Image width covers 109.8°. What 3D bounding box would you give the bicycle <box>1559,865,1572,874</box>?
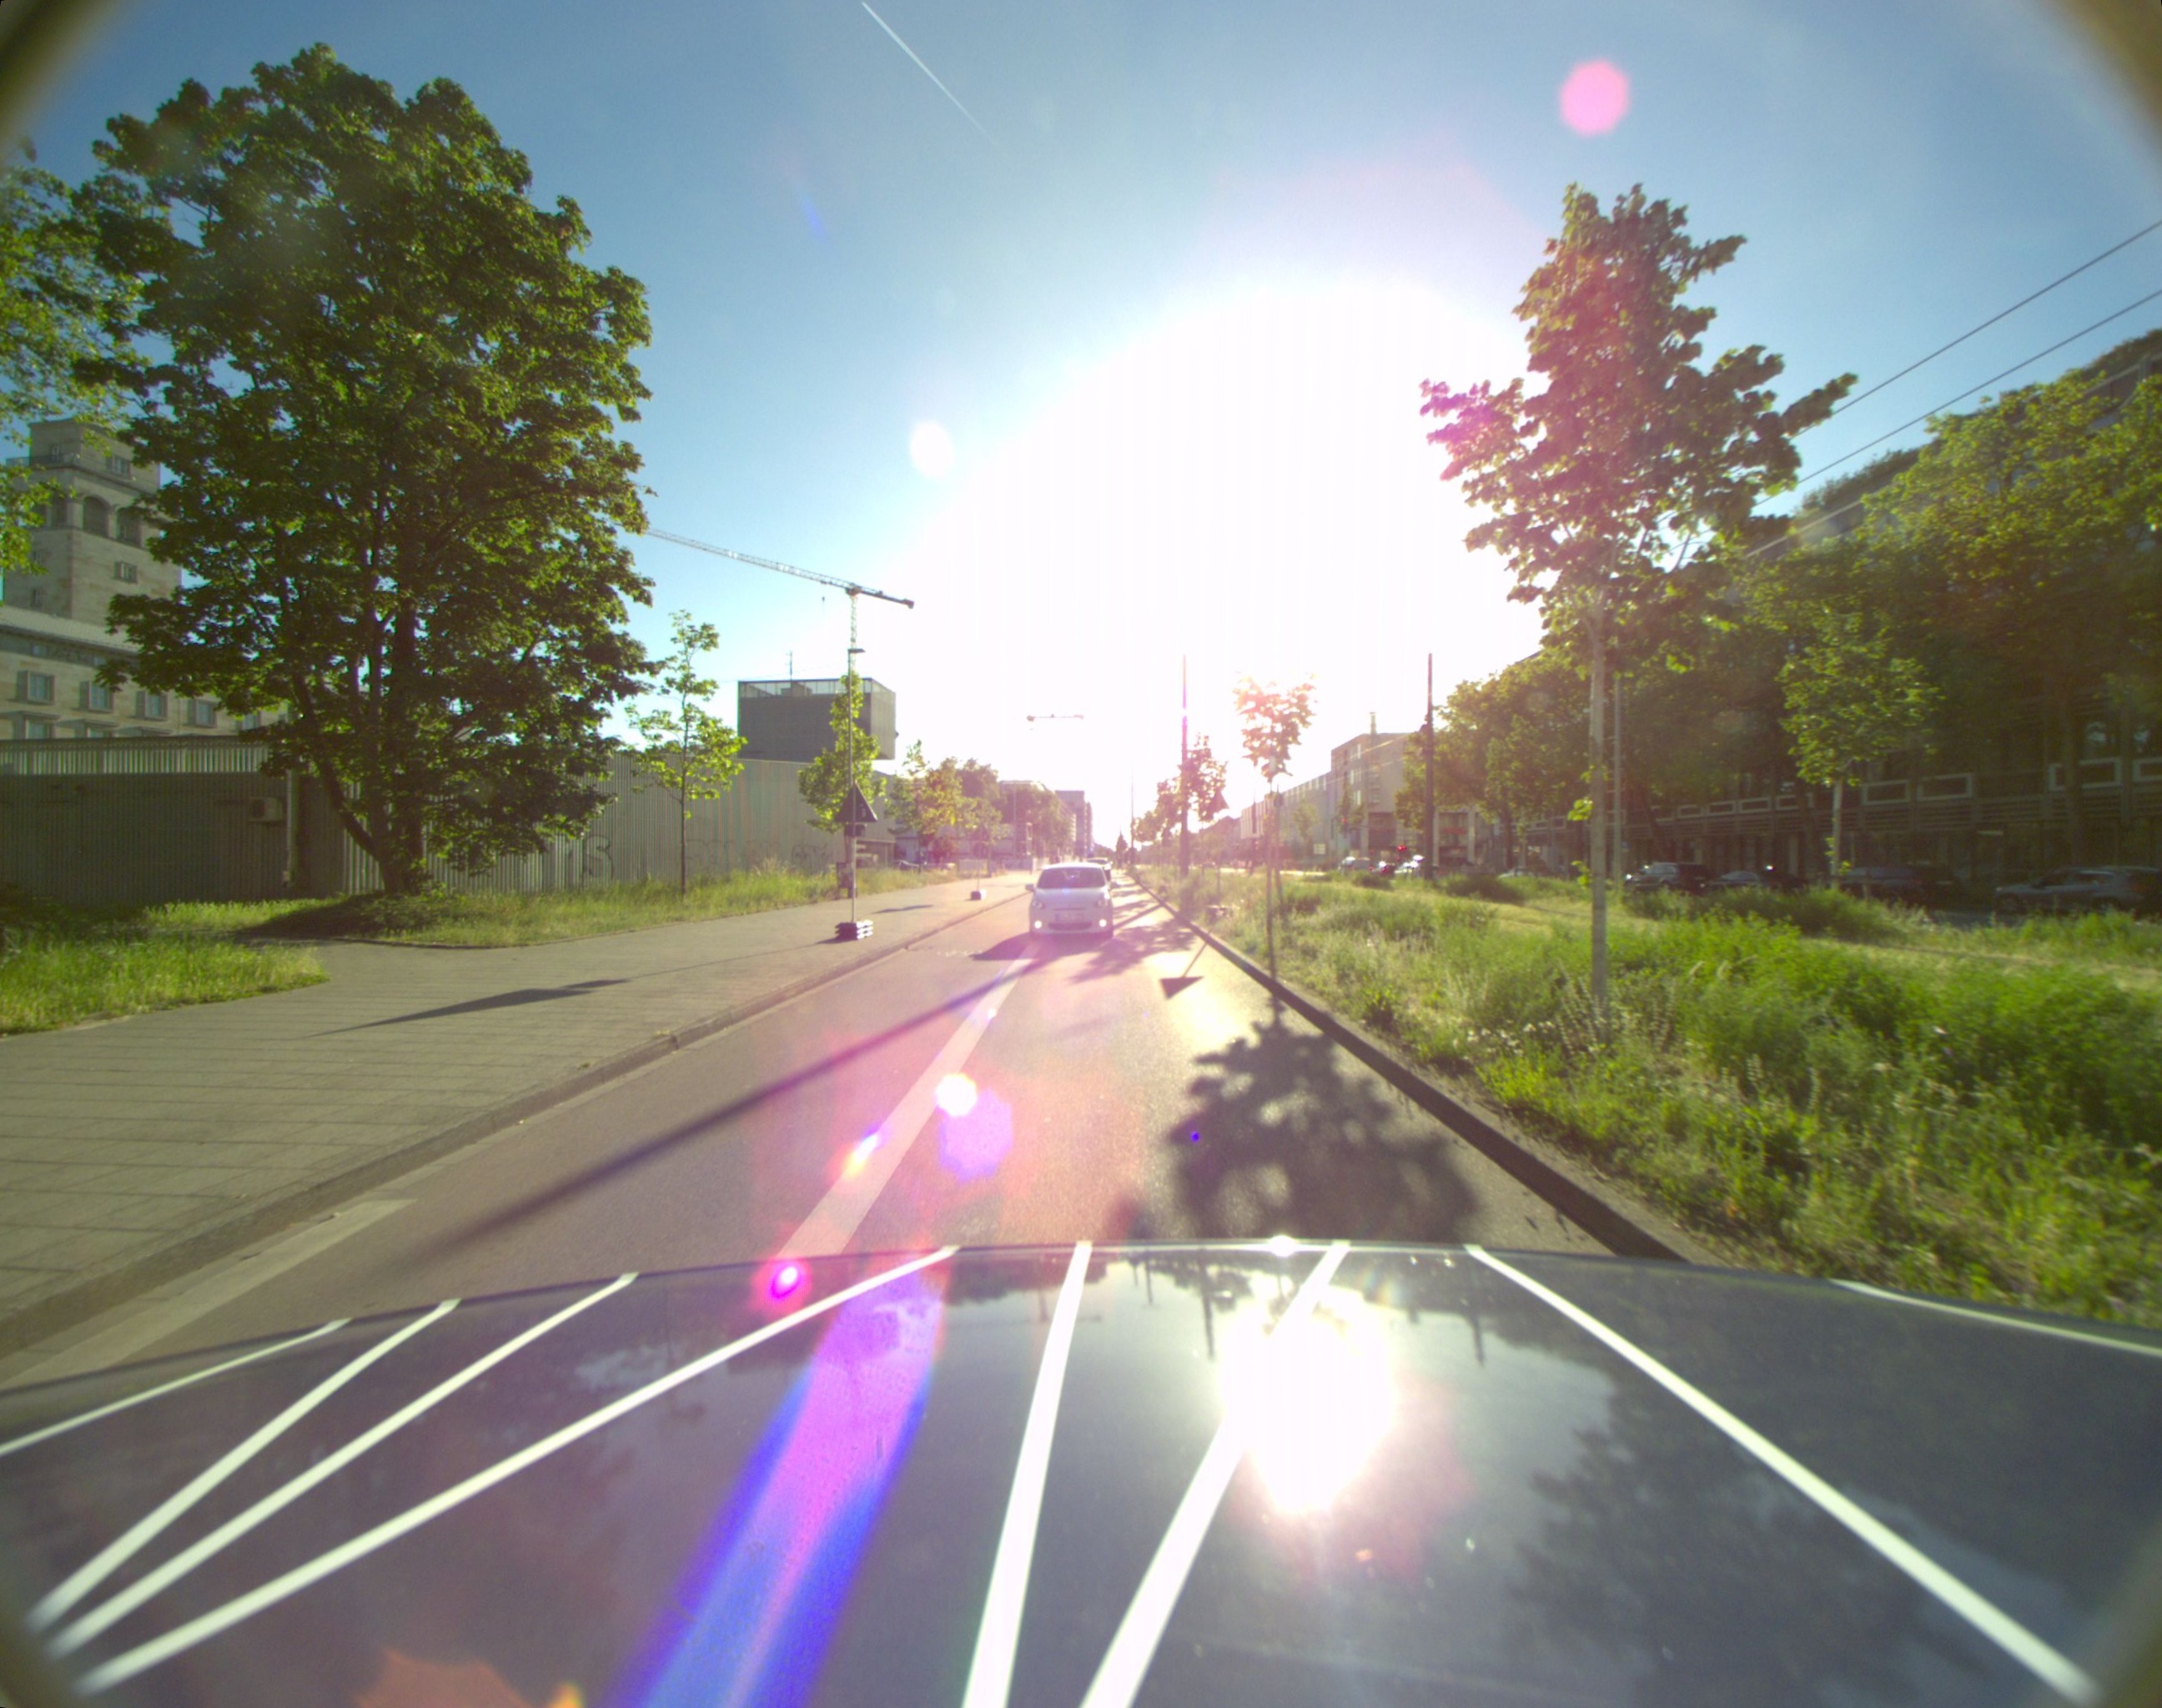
[{"bbox_3d":[68.172,2.170,106.946,0.659,1.104,2.478,0,0,10],"label":"bicycle"}]

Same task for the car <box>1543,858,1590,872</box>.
[{"bbox_3d":[61.762,1.389,96.751,4.543,1.703,2.126,0,2,12],"label":"car"}]

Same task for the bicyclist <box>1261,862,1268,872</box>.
[{"bbox_3d":[27.580,1.934,114.238,0.940,1.536,0.649,-1,0,6],"label":"bicyclist"}]

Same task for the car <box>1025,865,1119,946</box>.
[{"bbox_3d":[-0.075,1.001,16.213,1.659,1.463,3.970,-1,0,4],"label":"car"}]

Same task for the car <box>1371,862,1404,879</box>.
[{"bbox_3d":[28.862,1.555,71.645,1.844,1.477,3.882,3,0,5],"label":"car"}]

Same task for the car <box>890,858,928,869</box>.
[{"bbox_3d":[-22.364,1.268,98.695,4.519,1.344,1.778,0,1,9],"label":"car"}]

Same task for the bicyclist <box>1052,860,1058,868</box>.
[{"bbox_3d":[-4.348,1.604,125.407,0.636,1.263,0.807,-1,0,24],"label":"bicyclist"}]

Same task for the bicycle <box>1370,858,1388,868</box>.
[{"bbox_3d":[34.197,1.016,87.242,1.799,1.087,0.709,0,0,2],"label":"bicycle"}]

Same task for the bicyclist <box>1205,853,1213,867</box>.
[{"bbox_3d":[14.781,0.687,87.698,0.847,1.534,0.652,0,0,-7],"label":"bicyclist"}]

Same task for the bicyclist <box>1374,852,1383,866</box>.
[{"bbox_3d":[34.195,0.602,87.230,0.785,1.659,0.701,0,0,2],"label":"bicyclist"}]

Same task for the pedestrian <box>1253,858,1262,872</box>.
[{"bbox_3d":[26.811,1.721,115.452,1.097,2.116,1.063,0,1,0],"label":"pedestrian"}]

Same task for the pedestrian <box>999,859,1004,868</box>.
[{"bbox_3d":[-12.893,1.468,122.672,0.653,1.445,0.604,0,0,8],"label":"pedestrian"}]

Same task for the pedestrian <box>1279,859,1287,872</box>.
[{"bbox_3d":[31.042,1.780,116.793,1.023,2.002,0.917,0,0,-4],"label":"pedestrian"}]

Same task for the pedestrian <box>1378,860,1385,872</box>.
[{"bbox_3d":[42.790,1.738,108.160,0.756,1.730,0.753,0,1,6],"label":"pedestrian"}]

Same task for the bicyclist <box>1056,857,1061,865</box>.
[{"bbox_3d":[-3.838,1.201,128.028,0.805,1.290,0.776,-1,0,2],"label":"bicyclist"}]

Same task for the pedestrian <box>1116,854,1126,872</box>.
[{"bbox_3d":[4.251,0.904,80.442,1.049,1.900,1.015,0,0,6],"label":"pedestrian"}]

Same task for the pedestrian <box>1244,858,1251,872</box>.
[{"bbox_3d":[25.425,1.658,116.157,0.946,2.111,0.898,0,0,0],"label":"pedestrian"}]

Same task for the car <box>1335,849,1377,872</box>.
[{"bbox_3d":[25.611,0.566,71.030,2.263,2.002,5.712,2,0,5],"label":"car"}]

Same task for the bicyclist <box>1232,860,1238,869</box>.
[{"bbox_3d":[23.237,1.600,114.903,0.842,1.394,0.806,-1,0,6],"label":"bicyclist"}]

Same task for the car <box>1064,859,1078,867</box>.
[{"bbox_3d":[-1.660,1.582,130.233,1.998,1.368,4.001,-1,0,4],"label":"car"}]

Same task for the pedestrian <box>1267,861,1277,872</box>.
[{"bbox_3d":[28.925,1.921,114.974,0.950,1.641,1.005,0,1,-38],"label":"pedestrian"}]

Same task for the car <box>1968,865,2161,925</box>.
[{"bbox_3d":[30.871,1.217,23.504,1.914,1.623,4.364,2,0,5],"label":"car"}]

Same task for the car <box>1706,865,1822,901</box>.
[{"bbox_3d":[31.057,1.270,34.723,1.997,1.512,4.002,-1,0,6],"label":"car"}]

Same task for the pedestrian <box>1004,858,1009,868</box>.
[{"bbox_3d":[-12.103,1.400,123.483,0.653,1.579,0.841,0,0,8],"label":"pedestrian"}]

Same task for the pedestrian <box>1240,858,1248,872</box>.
[{"bbox_3d":[25.147,1.700,117.157,0.946,2.111,0.898,0,0,-3],"label":"pedestrian"}]

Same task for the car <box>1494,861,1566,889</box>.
[{"bbox_3d":[26.681,1.215,45.326,1.762,1.507,4.584,1,0,3],"label":"car"}]

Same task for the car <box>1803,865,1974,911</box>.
[{"bbox_3d":[30.905,1.240,29.329,1.748,1.548,4.623,-1,0,1],"label":"car"}]

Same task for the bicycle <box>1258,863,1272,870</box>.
[{"bbox_3d":[27.589,1.934,114.233,1.976,0.991,0.649,-1,0,6],"label":"bicycle"}]

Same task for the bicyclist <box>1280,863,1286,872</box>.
[{"bbox_3d":[31.425,2.126,117.994,0.840,1.349,0.806,-1,0,10],"label":"bicyclist"}]

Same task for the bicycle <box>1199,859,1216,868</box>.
[{"bbox_3d":[14.744,1.122,88.474,1.815,1.110,0.625,0,0,-6],"label":"bicycle"}]

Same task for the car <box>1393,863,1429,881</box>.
[{"bbox_3d":[27.984,1.507,64.474,1.714,1.444,3.577,3,0,5],"label":"car"}]

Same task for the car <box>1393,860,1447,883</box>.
[{"bbox_3d":[24.223,1.213,54.447,1.845,1.585,4.693,0,0,1],"label":"car"}]

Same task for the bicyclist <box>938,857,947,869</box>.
[{"bbox_3d":[-17.593,1.123,96.504,0.937,1.495,0.624,0,1,-3],"label":"bicyclist"}]

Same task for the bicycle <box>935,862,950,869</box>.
[{"bbox_3d":[-17.583,1.460,96.508,1.909,0.903,0.624,0,1,-3],"label":"bicycle"}]

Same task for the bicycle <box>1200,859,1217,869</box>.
[{"bbox_3d":[14.733,1.129,87.703,1.800,1.087,0.652,0,0,-7],"label":"bicycle"}]

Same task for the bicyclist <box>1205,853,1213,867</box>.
[{"bbox_3d":[14.883,0.718,88.493,0.894,1.565,0.626,0,0,1],"label":"bicyclist"}]

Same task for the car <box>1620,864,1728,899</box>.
[{"bbox_3d":[31.589,1.409,40.707,1.998,1.670,4.868,-1,0,0],"label":"car"}]

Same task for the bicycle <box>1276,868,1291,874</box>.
[{"bbox_3d":[31.436,2.600,117.994,2.074,0.922,0.806,-1,0,10],"label":"bicycle"}]

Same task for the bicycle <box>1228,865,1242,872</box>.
[{"bbox_3d":[23.285,2.239,114.905,2.074,0.973,0.806,-1,0,6],"label":"bicycle"}]
